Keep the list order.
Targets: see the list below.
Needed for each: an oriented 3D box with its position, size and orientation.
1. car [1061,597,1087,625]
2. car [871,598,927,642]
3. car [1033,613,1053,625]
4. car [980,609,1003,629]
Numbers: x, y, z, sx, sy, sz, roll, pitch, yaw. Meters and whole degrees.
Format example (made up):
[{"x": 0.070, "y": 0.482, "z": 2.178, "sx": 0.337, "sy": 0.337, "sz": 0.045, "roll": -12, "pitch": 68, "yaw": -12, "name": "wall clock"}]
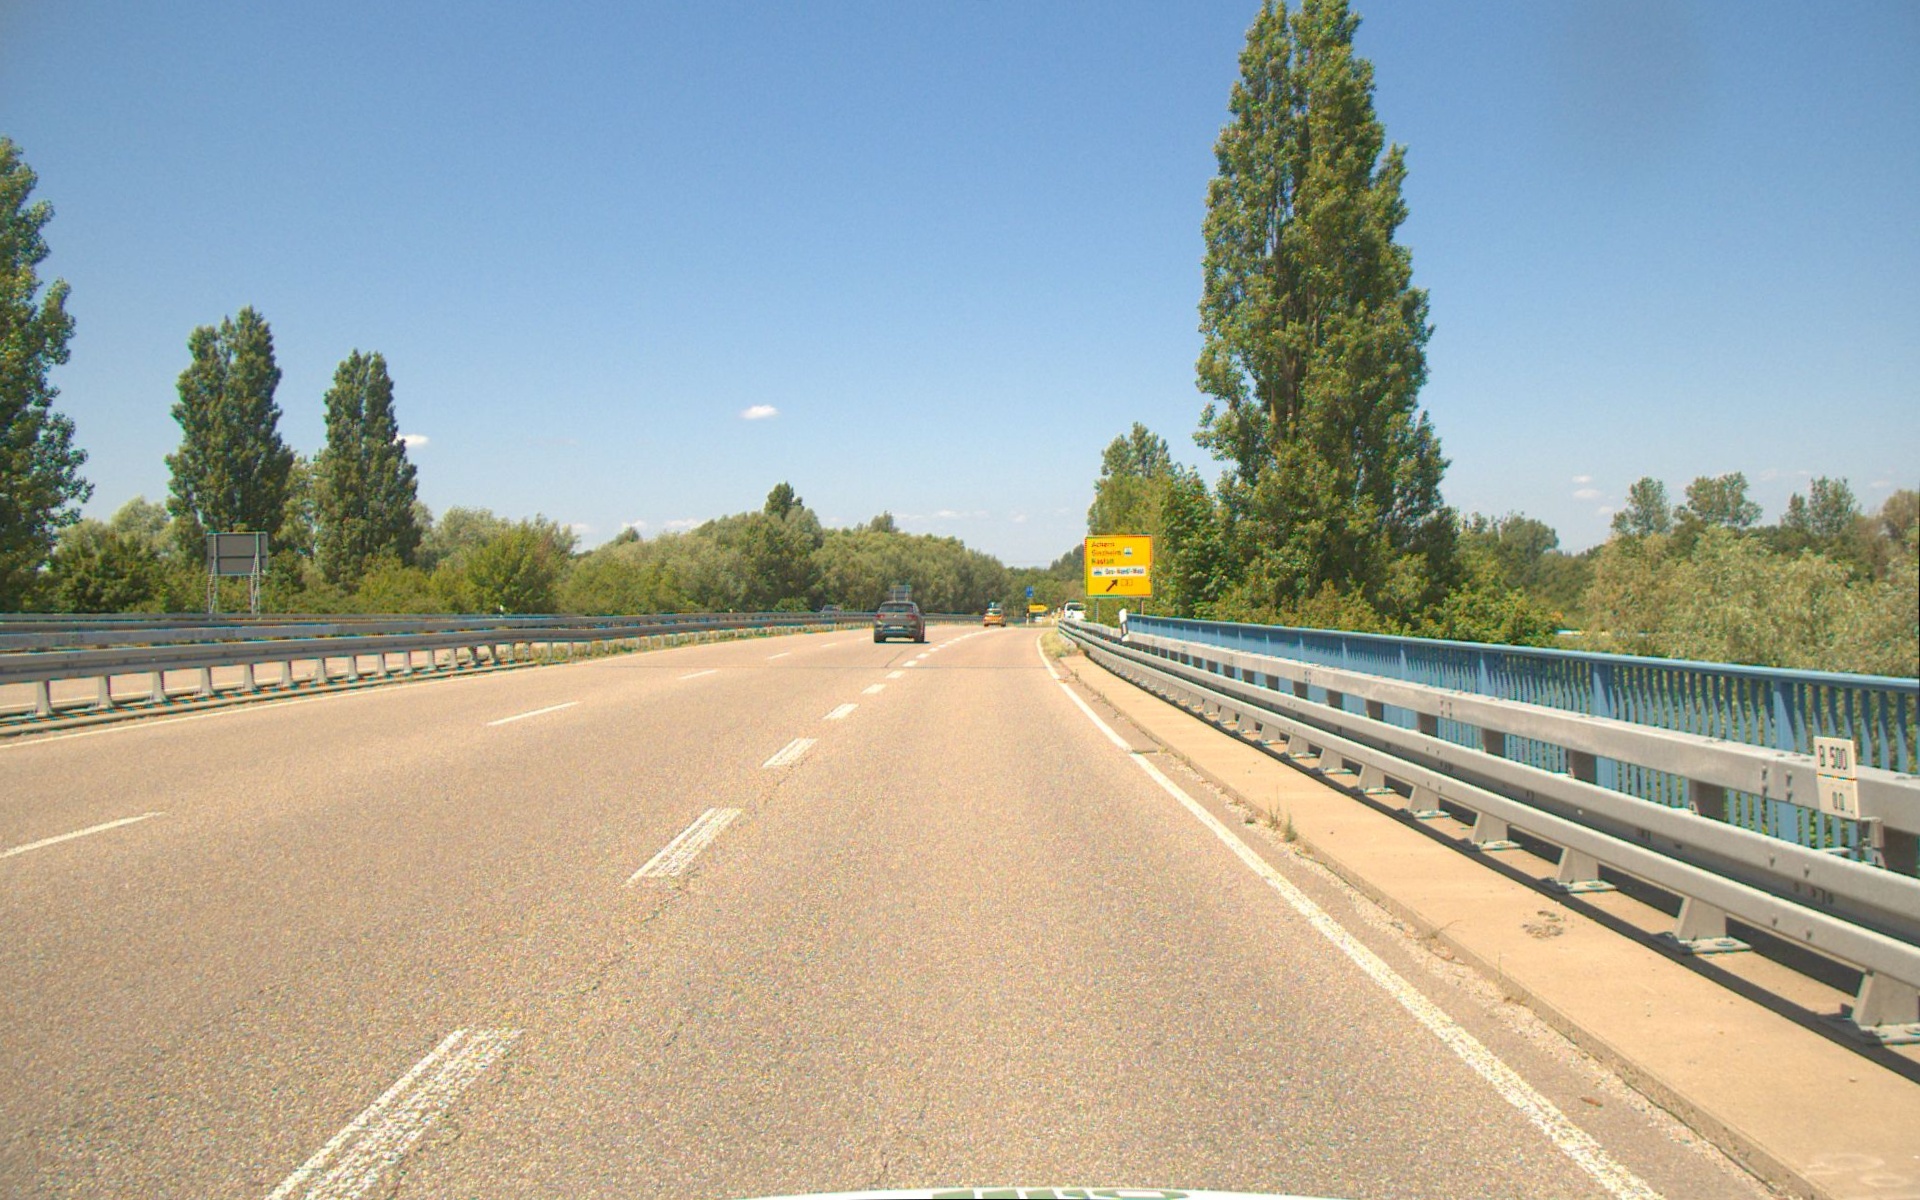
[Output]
[{"x": 8.547, "y": 0.804, "z": 123.917, "sx": 1.803, "sy": 1.928, "sz": 4.001, "roll": 1, "pitch": 0, "yaw": 2, "name": "car"}, {"x": -2.303, "y": 0.751, "z": 63.549, "sx": 1.803, "sy": 1.556, "sz": 4.471, "roll": 1, "pitch": 0, "yaw": 2, "name": "car"}, {"x": 10.726, "y": 2.445, "z": 214.161, "sx": 1.802, "sy": 1.476, "sz": 4.003, "roll": 1, "pitch": 0, "yaw": 15, "name": "car"}, {"x": 2.606, "y": 1.567, "z": 137.098, "sx": 1.803, "sy": 1.489, "sz": 4.001, "roll": 1, "pitch": 0, "yaw": 2, "name": "car"}]
